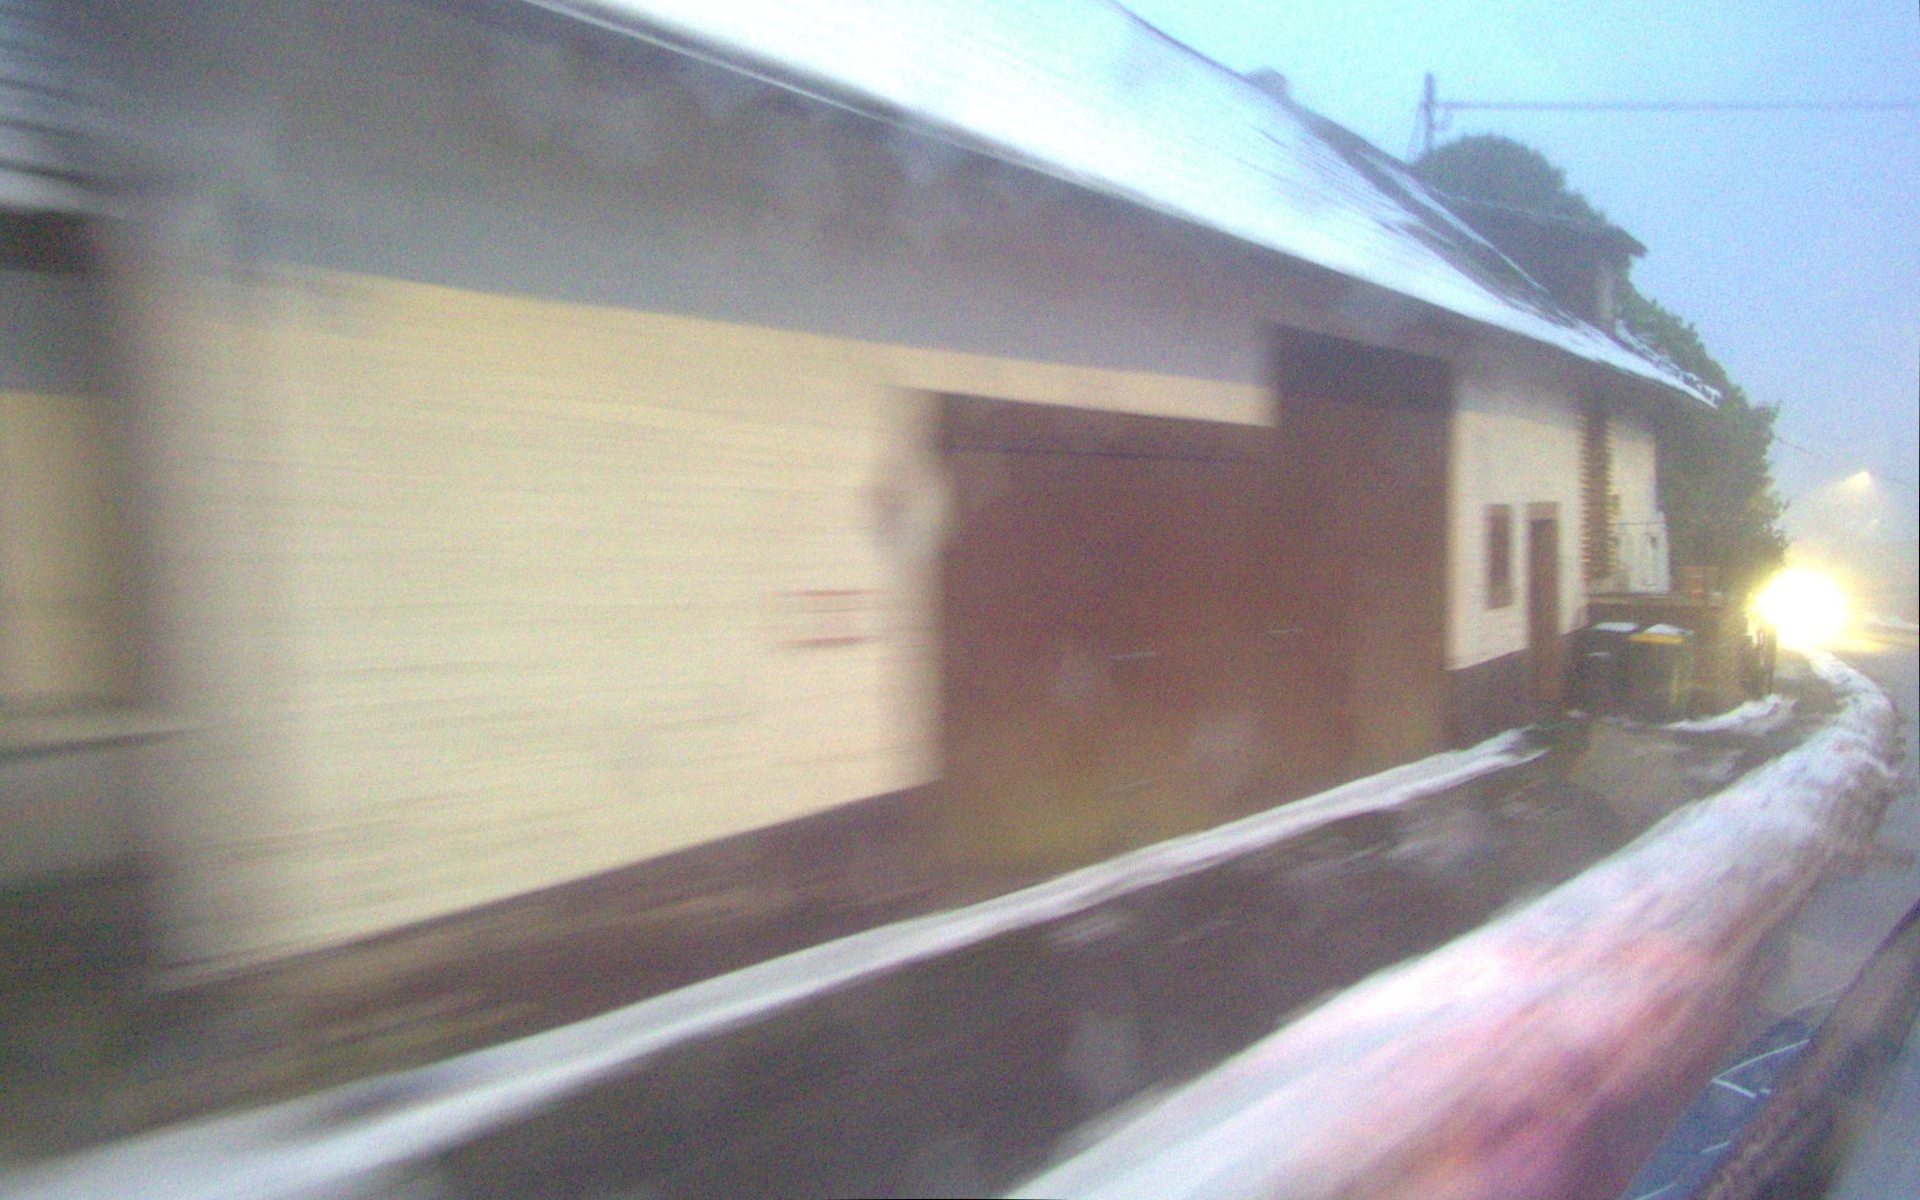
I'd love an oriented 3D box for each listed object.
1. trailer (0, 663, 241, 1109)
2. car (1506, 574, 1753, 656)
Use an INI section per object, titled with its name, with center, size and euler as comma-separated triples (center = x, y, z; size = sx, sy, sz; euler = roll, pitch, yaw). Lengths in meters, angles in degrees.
[trailer]
center = -3.740, 0.802, 1.638
size = 1.536, 0.957, 3.960
euler = 3, 3, 29
[car]
center = 13.676, 0.329, 21.008
size = 3.958, 1.556, 1.983
euler = -2, -1, 26
